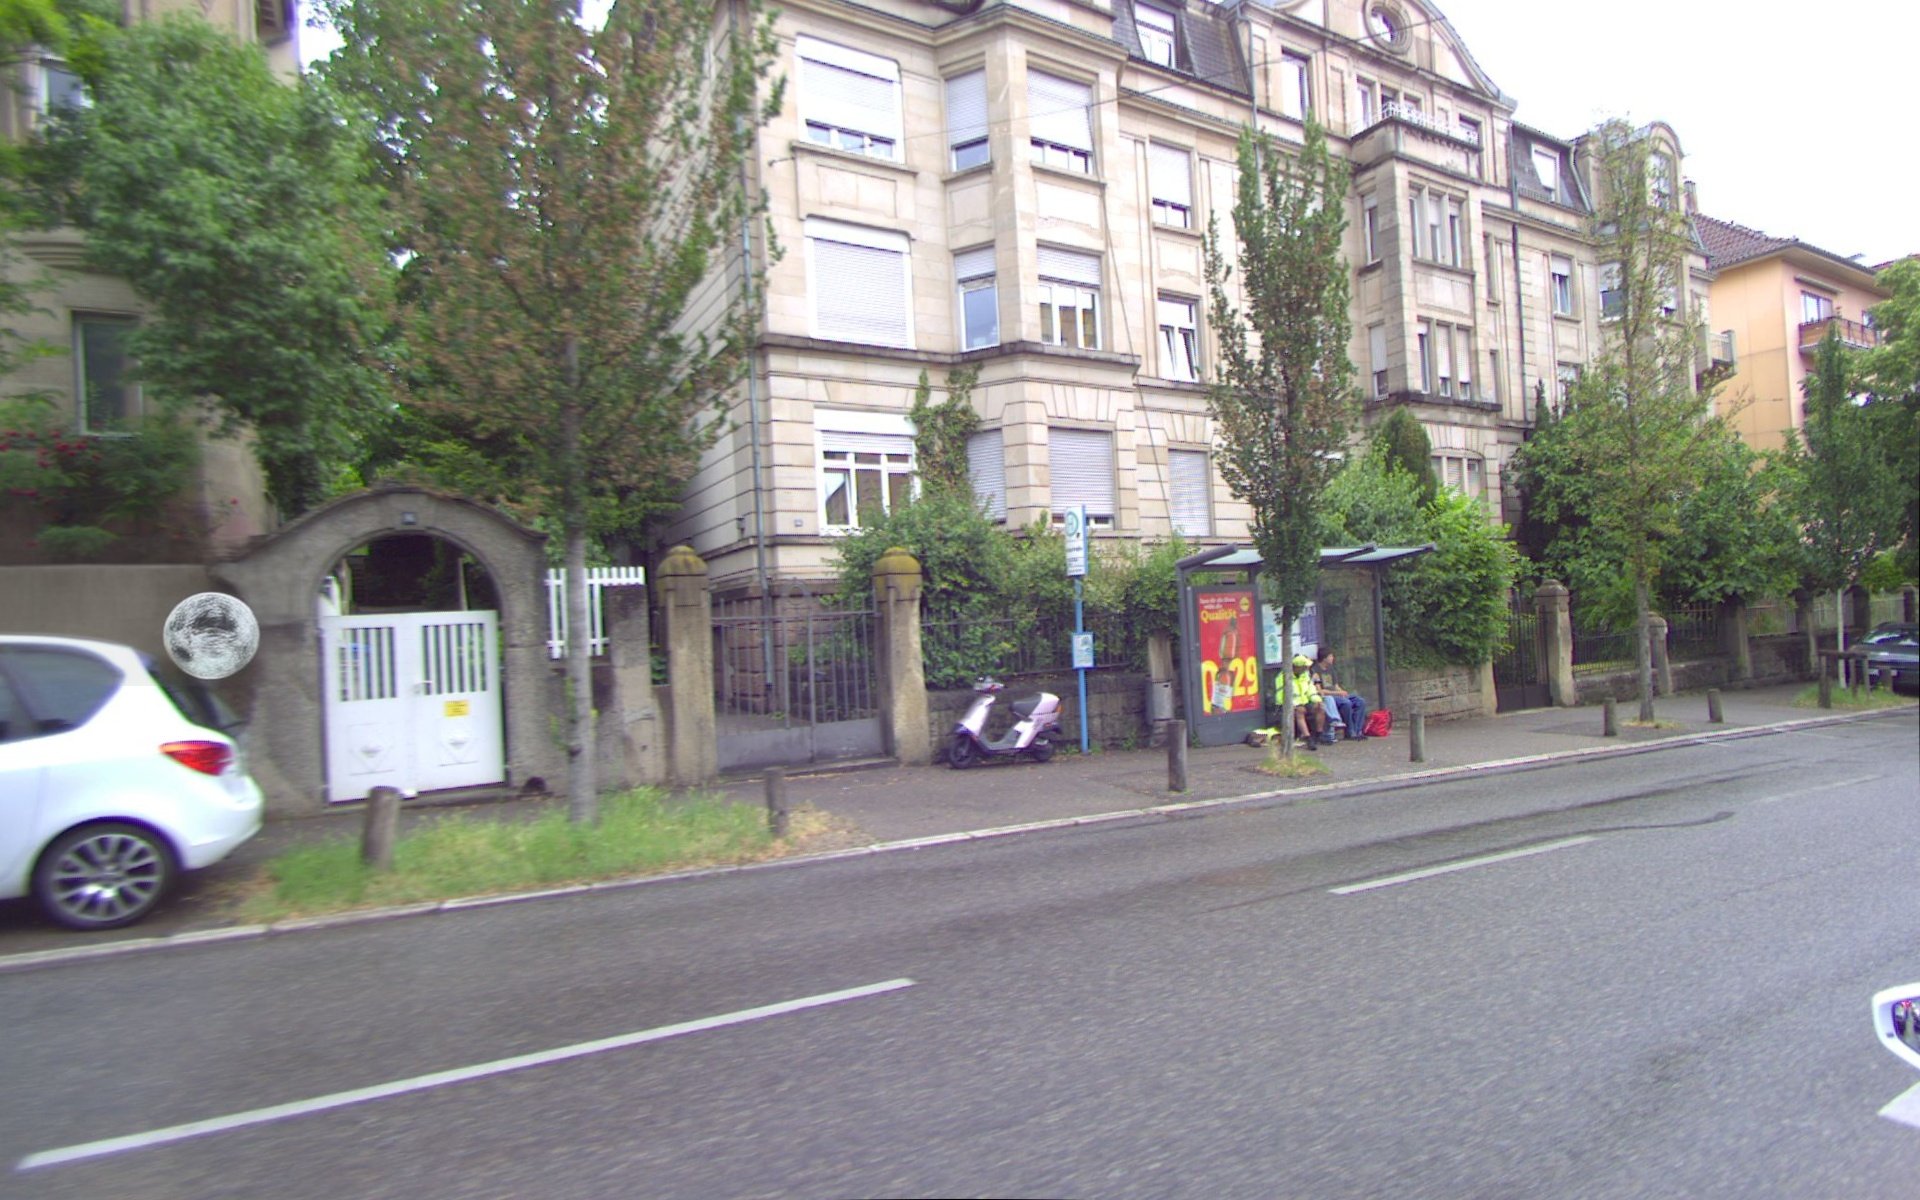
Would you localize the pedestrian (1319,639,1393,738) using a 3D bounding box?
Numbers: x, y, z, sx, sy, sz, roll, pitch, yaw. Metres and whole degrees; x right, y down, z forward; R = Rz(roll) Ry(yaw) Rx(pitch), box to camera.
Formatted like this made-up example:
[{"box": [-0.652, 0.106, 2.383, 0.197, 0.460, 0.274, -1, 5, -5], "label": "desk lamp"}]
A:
[{"box": [6.025, 1.335, 15.306, 0.641, 1.451, 0.763, 0, -3, -29], "label": "pedestrian"}]

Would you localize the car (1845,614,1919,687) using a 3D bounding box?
[{"box": [22.588, 1.128, 23.592, 4.258, 1.580, 1.730, 1, 0, -35], "label": "car"}]

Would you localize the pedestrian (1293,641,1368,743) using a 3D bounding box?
[{"box": [5.537, 1.361, 15.033, 0.641, 1.451, 0.763, 0, -3, -29], "label": "pedestrian"}]

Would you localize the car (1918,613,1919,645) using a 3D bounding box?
[{"box": [42.238, 1.091, 41.166, 1.816, 1.344, 3.966, -1, -3, -32], "label": "car"}]

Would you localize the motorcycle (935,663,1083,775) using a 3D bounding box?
[{"box": [0.612, 1.440, 12.468, 1.741, 1.253, 0.653, 0, -3, -30], "label": "motorcycle"}]

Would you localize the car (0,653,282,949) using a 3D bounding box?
[{"box": [-6.543, 1.162, 5.848, 4.256, 1.580, 1.731, 1, -1, -34], "label": "car"}]

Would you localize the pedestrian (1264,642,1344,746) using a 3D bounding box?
[{"box": [5.025, 1.363, 14.713, 0.751, 1.451, 0.763, 0, -3, -31], "label": "pedestrian"}]
